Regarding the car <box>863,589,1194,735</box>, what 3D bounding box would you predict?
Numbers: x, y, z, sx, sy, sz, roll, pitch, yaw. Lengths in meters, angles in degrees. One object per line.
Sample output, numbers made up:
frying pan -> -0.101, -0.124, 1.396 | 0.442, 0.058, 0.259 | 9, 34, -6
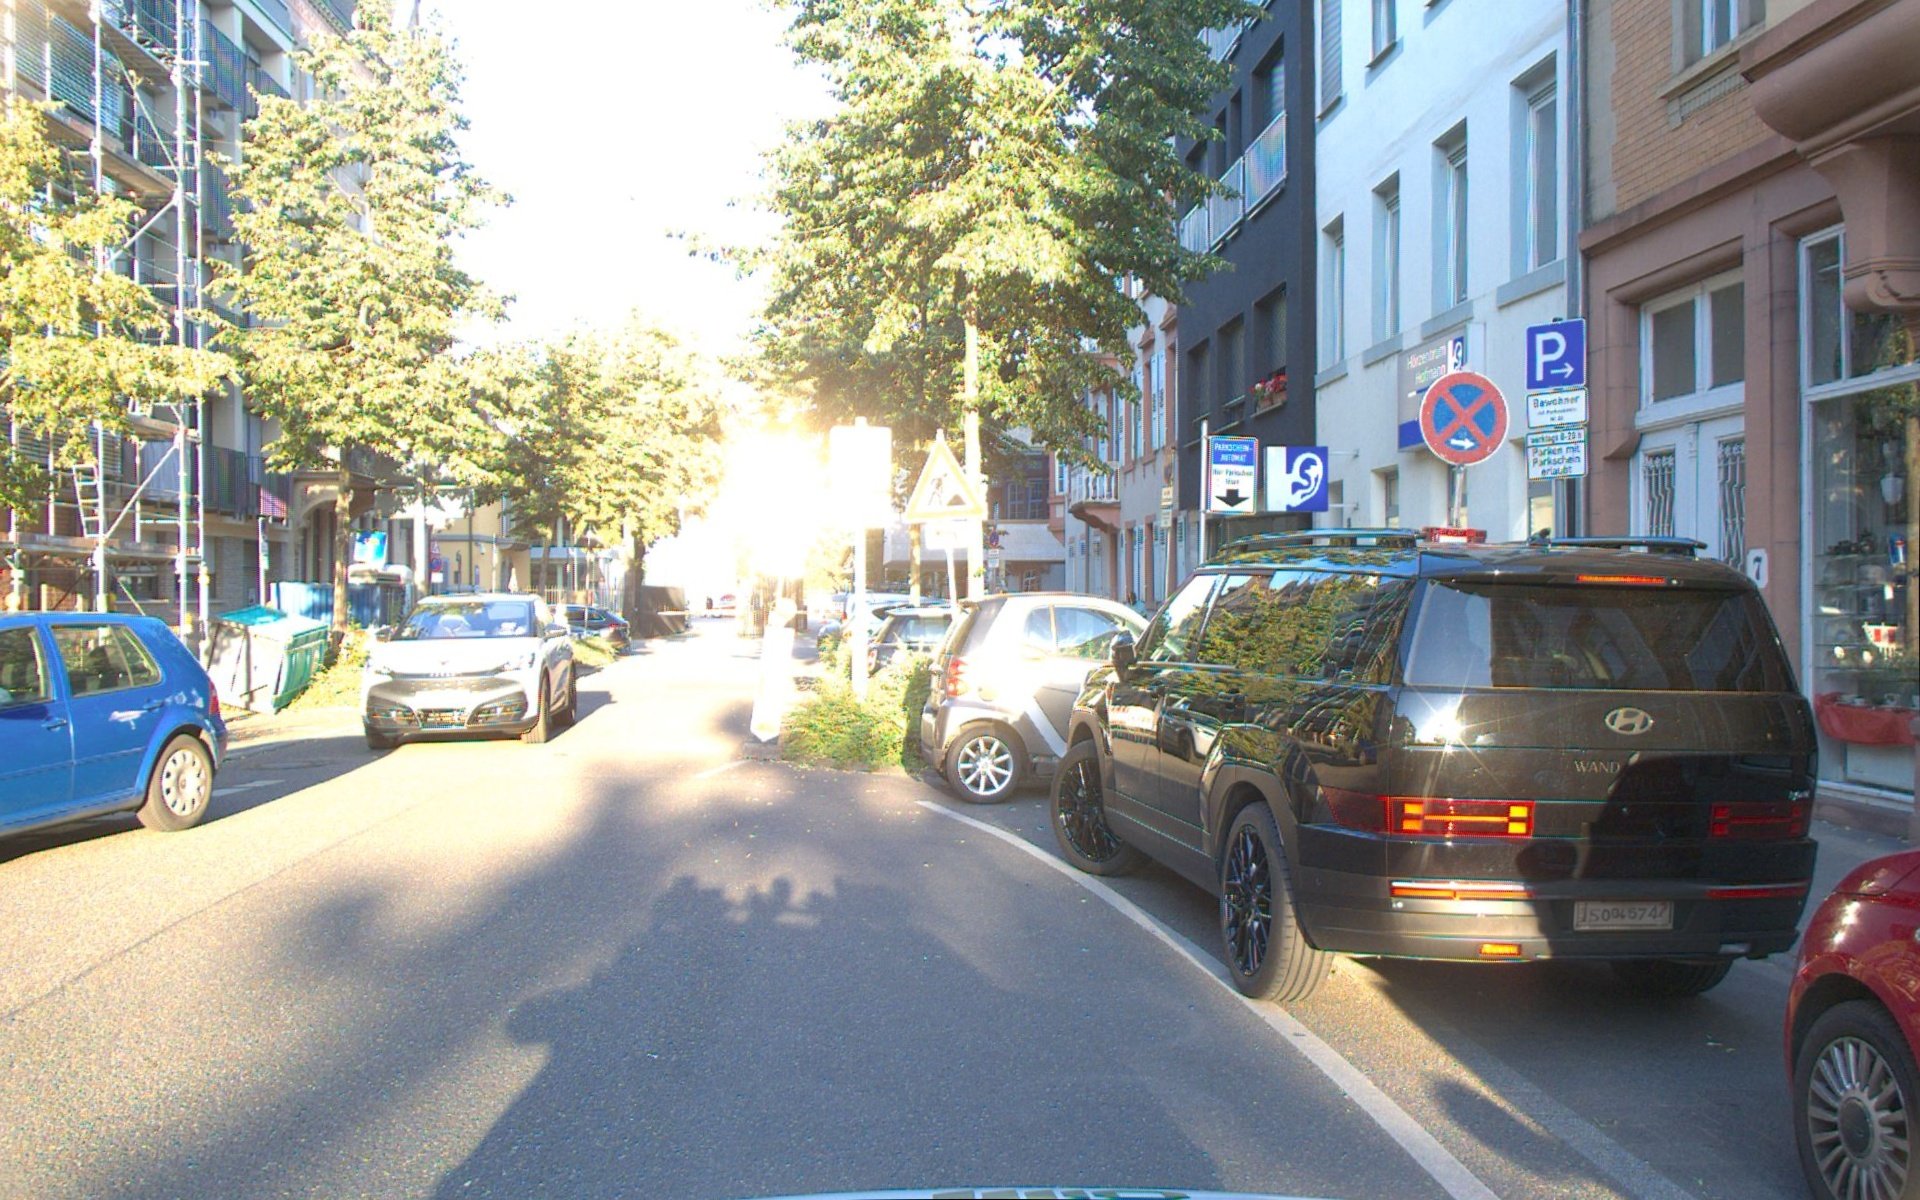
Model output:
car -> 0.793, 0.756, 20.772 | 3.918, 1.699, 1.856 | 1, 0, -6

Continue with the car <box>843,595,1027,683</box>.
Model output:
car -> -0.547, 0.776, 33.888 | 3.614, 1.699, 1.856 | 1, 0, -6

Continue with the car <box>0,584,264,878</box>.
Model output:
car -> -5.954, 0.728, 9.489 | 1.652, 1.590, 4.122 | -2, 0, 9

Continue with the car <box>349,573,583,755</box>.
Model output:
car -> -5.411, 0.645, 18.663 | 1.838, 1.727, 4.313 | -2, 0, -8

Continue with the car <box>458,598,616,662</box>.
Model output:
car -> -11.620, 0.807, 45.624 | 3.906, 1.713, 1.890 | 0, 0, -2

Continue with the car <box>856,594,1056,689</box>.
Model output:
car -> -0.124, 0.769, 31.417 | 3.614, 1.699, 1.856 | 1, 0, -6

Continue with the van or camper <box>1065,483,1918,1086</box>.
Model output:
van or camper -> 1.853, 0.564, 7.401 | 1.854, 1.839, 4.451 | 0, 0, -9

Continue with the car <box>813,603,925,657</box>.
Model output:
car -> -2.824, 0.923, 52.037 | 1.817, 1.595, 3.690 | 1, 0, 29

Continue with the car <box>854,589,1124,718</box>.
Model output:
car -> 0.352, 0.742, 23.422 | 3.614, 1.699, 1.856 | 1, 0, -6

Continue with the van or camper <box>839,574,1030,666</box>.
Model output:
van or camper -> -0.640, 0.476, 38.996 | 4.354, 2.041, 1.856 | 1, 0, -6

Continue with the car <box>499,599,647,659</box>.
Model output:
car -> -11.262, 0.827, 48.330 | 3.906, 1.713, 1.890 | 0, 0, -2

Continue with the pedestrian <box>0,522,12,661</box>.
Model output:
pedestrian -> -12.869, -0.103, 21.498 | 0.727, 1.814, 0.656 | -1, 0, -5

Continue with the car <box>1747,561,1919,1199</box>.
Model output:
car -> 2.954, 0.722, 2.823 | 1.495, 1.597, 3.420 | 1, 0, -2

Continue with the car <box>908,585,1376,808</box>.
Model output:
car -> 1.392, 0.695, 13.114 | 3.409, 1.603, 1.503 | 0, 0, -13
